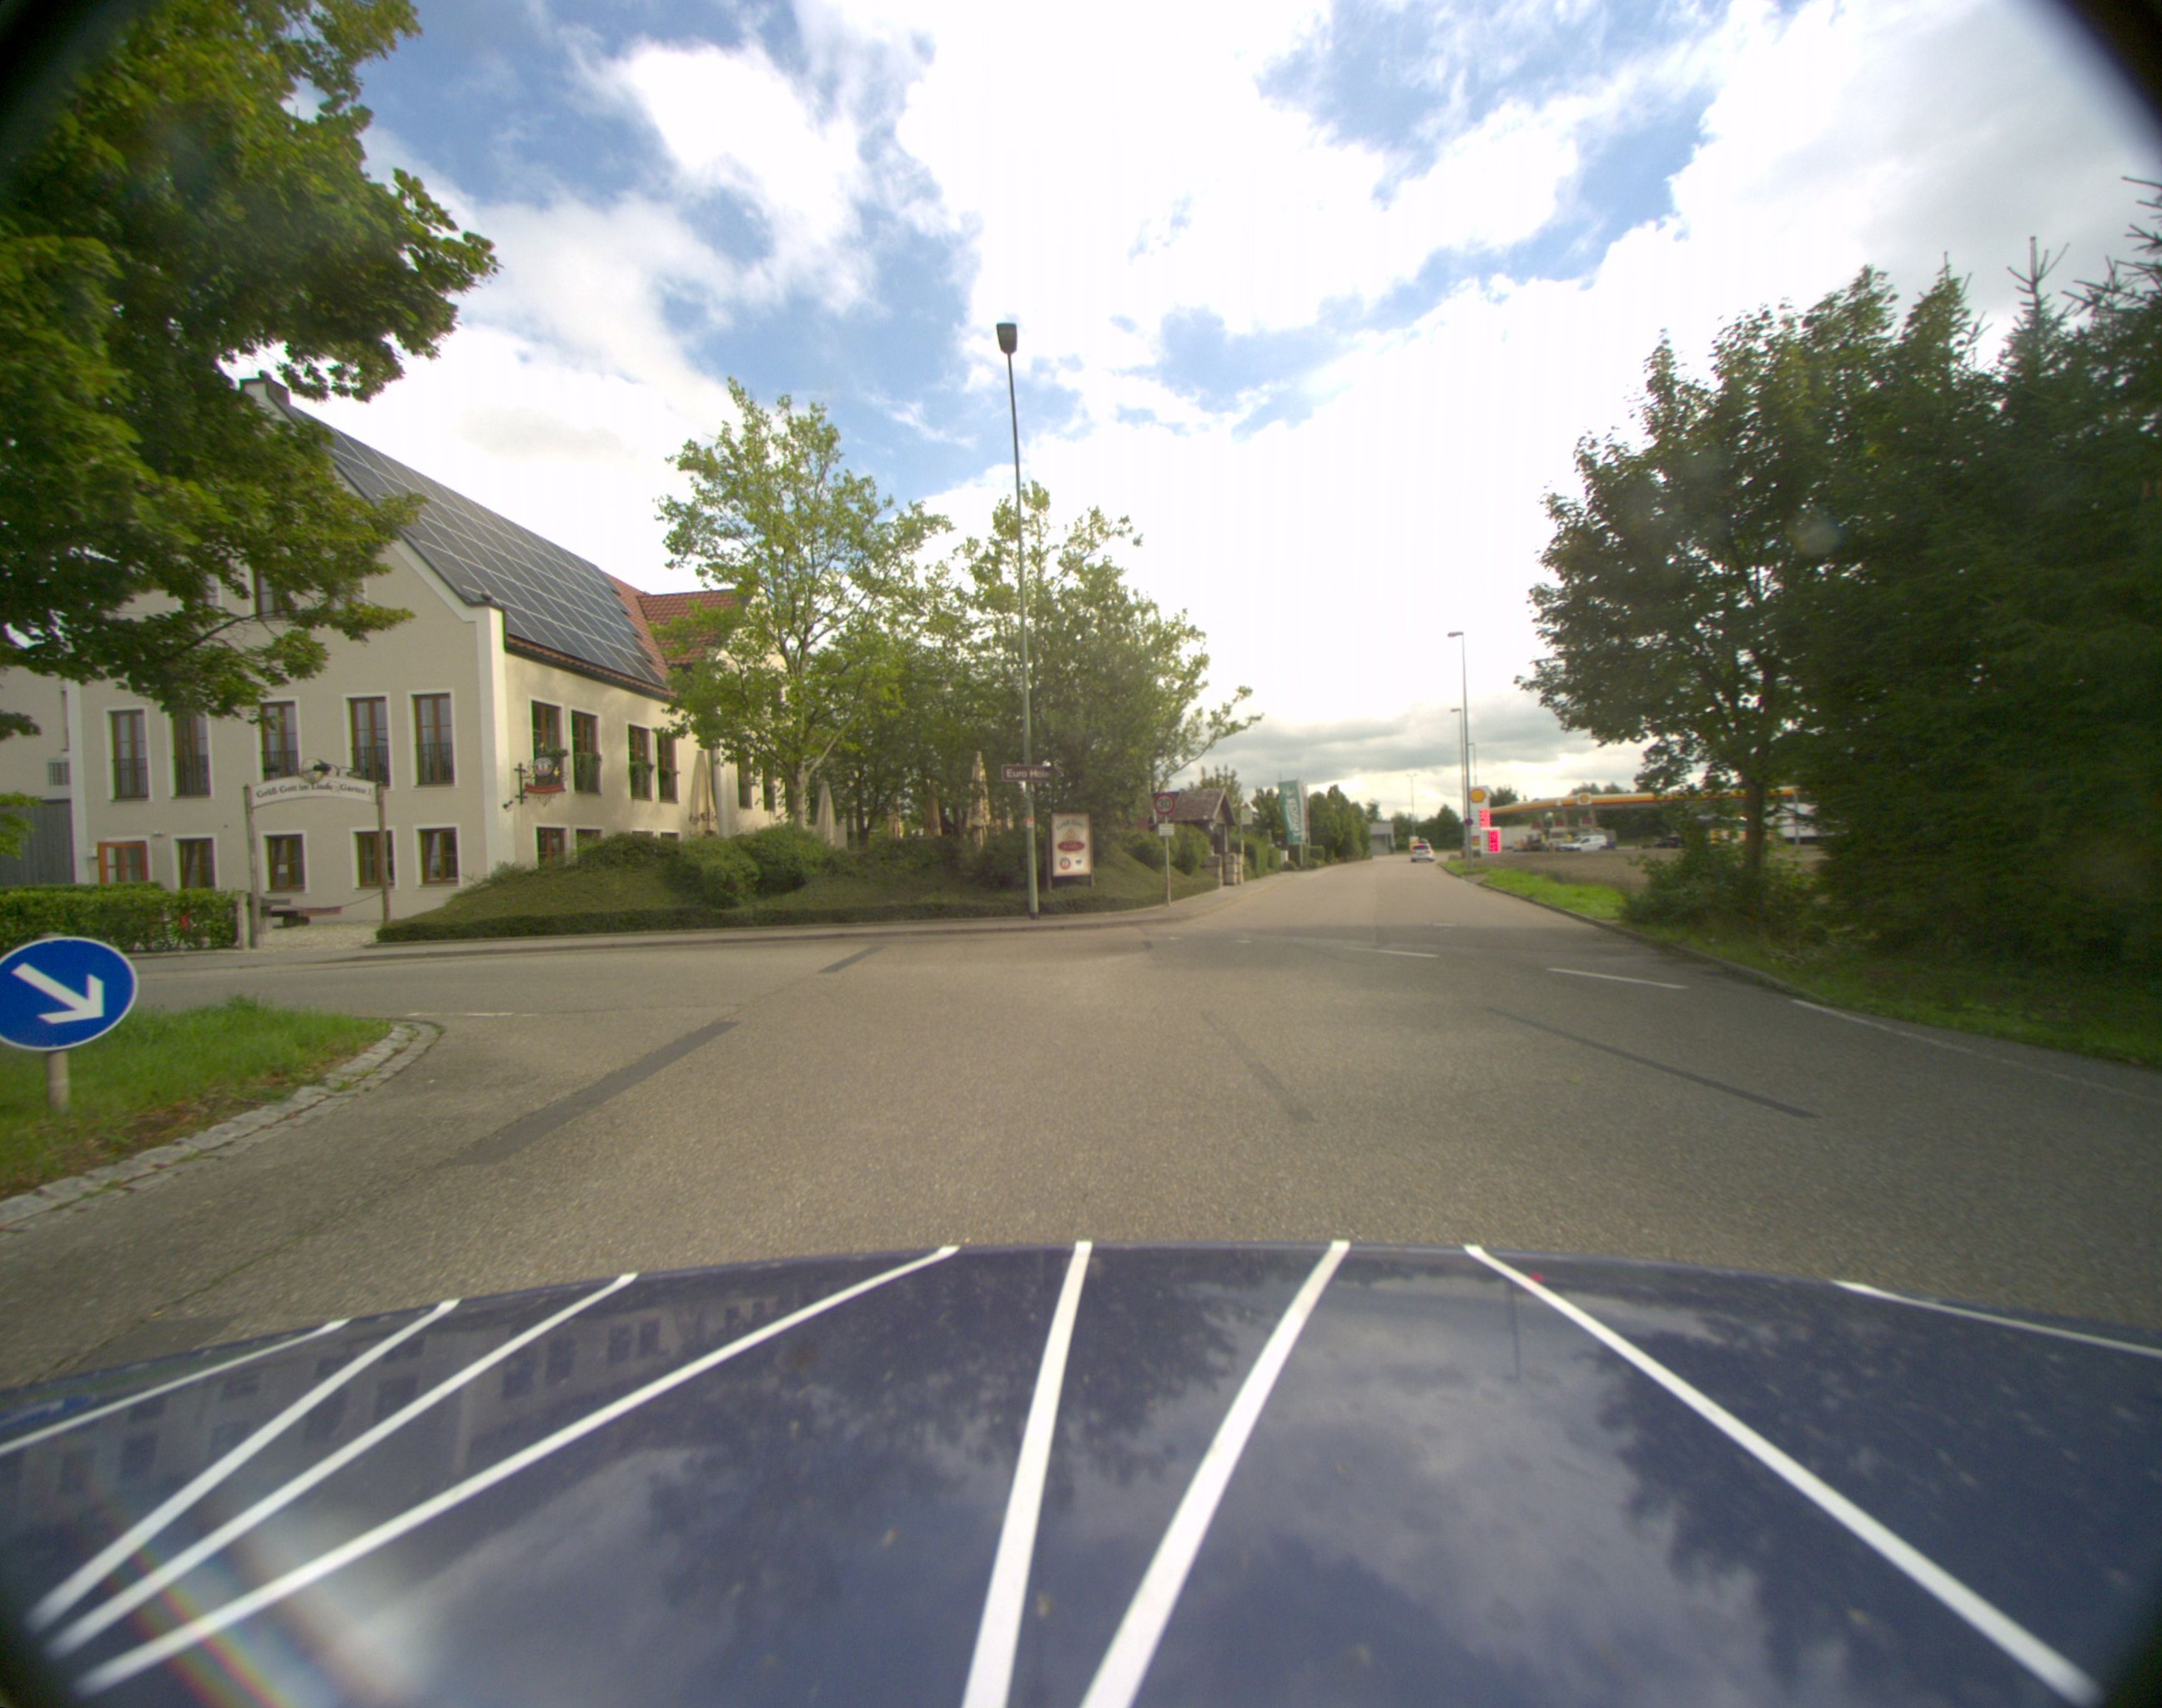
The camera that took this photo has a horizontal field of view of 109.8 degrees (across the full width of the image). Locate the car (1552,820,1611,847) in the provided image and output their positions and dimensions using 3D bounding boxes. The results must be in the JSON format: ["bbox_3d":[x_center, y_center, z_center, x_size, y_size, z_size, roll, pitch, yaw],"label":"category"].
[{"bbox_3d":[54.747,-2.215,83.129,5.813,2.770,2.221,-2,0,-19],"label":"car"}]

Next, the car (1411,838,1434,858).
[{"bbox_3d":[30.770,-0.556,68.573,1.700,1.655,4.038,-1,1,21],"label":"car"}]

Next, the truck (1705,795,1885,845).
[{"bbox_3d":[65.570,-3.072,69.977,13.243,3.901,2.752,-2,2,5],"label":"truck"}]

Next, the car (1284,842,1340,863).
[{"bbox_3d":[20.107,-0.138,66.102,4.352,1.706,1.660,-2,0,30],"label":"car"}]
